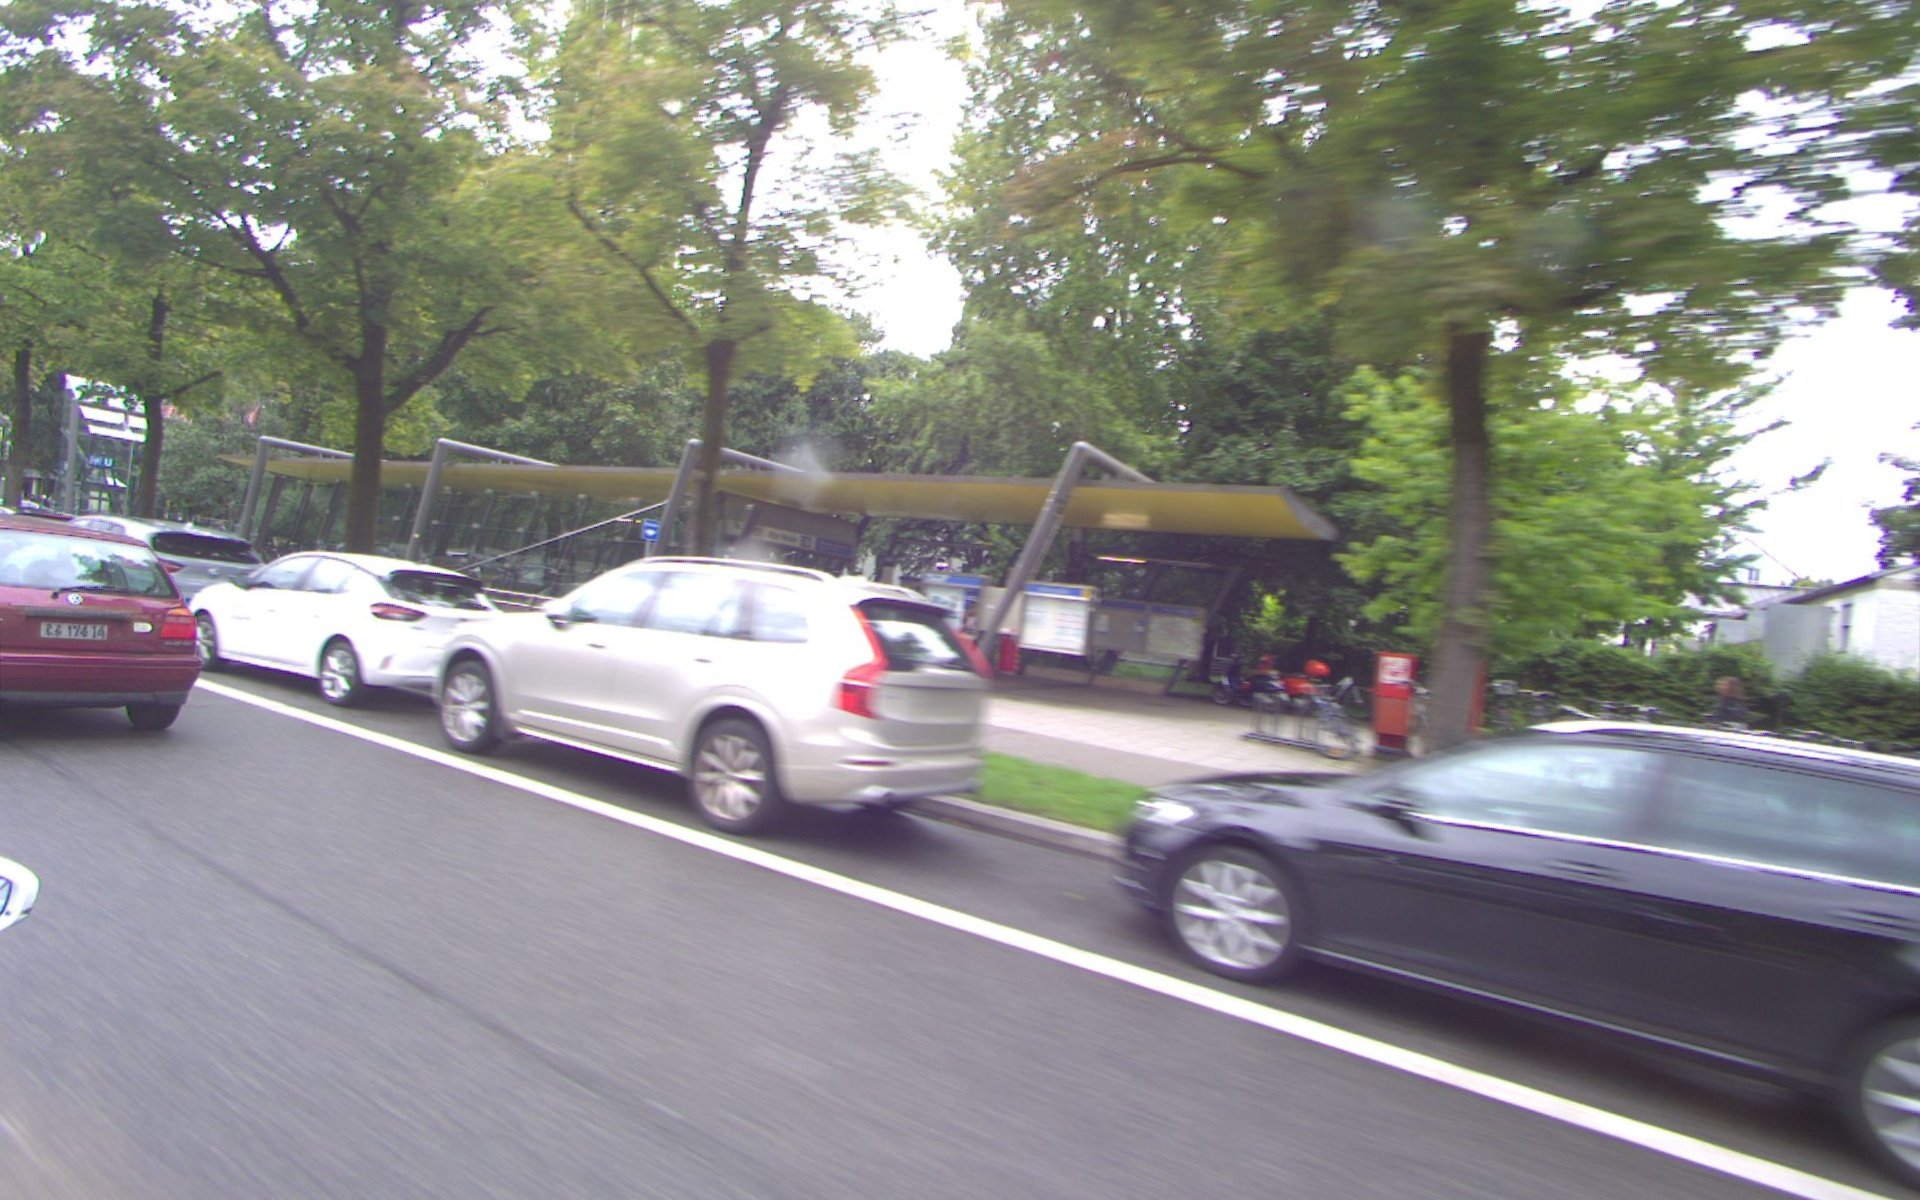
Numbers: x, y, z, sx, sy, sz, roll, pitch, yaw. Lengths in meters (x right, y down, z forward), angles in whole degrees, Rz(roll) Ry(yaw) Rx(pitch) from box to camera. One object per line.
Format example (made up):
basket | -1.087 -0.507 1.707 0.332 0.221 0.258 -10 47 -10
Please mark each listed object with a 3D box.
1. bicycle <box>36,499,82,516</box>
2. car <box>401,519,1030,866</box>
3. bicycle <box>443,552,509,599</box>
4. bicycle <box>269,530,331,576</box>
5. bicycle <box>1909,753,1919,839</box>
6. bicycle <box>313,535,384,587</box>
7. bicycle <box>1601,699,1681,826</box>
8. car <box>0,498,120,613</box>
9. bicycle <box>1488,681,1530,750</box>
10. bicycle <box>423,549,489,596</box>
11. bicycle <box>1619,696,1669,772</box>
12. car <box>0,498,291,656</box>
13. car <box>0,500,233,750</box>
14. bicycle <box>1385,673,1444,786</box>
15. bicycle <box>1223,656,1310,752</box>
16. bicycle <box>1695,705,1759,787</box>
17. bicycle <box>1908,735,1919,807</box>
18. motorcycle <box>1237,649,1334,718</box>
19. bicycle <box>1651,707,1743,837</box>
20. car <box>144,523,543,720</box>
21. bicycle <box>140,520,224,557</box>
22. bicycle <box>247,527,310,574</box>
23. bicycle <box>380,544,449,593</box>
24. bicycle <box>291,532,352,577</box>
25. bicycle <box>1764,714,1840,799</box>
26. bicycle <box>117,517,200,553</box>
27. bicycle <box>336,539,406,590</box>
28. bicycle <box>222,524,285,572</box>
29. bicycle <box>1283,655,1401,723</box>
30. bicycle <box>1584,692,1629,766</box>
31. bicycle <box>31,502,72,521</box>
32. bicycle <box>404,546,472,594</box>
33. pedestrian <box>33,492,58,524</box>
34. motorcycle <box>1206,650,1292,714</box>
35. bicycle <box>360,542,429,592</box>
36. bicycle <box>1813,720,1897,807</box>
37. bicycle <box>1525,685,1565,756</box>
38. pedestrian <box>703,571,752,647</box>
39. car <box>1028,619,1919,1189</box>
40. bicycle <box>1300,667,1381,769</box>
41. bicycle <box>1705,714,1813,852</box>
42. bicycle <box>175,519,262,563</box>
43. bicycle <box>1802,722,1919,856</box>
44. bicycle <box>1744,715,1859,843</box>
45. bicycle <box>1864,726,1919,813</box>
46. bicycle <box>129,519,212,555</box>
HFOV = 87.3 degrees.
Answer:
bicycle | -65.868 -6.740 73.535 2.366 0.881 0.769 7 0 -15
car | -2.076 0.515 7.866 4.825 1.744 1.750 7 -1 32
bicycle | -16.226 -0.835 33.713 2.508 1.296 0.646 6 0 32
bicycle | -22.115 -1.568 33.700 2.508 1.296 0.646 6 0 32
bicycle | 11.492 2.295 11.320 0.575 1.173 2.339 7 2 31
bicycle | -18.262 -1.166 30.013 2.508 1.296 0.646 6 0 32
bicycle | 7.978 1.839 11.849 0.520 1.173 2.339 7 2 31
car | -15.520 -0.839 16.320 4.022 1.551 1.546 6 -3 31
bicycle | 11.015 2.276 20.157 0.520 1.173 2.339 7 2 31
bicycle | -16.609 -0.908 33.125 2.508 1.296 0.646 6 0 32
bicycle | 12.740 2.462 18.783 0.520 1.173 2.339 7 2 31
car | -10.913 -0.336 13.244 4.326 1.552 1.723 6 -1 31
car | -7.111 -0.006 7.184 3.884 1.471 1.624 6 0 31
bicycle | 5.880 1.620 13.103 0.519 1.173 2.343 7 2 23
bicycle | 4.398 1.428 14.311 0.520 1.173 2.339 7 2 31
bicycle | 13.671 2.560 17.976 0.520 1.173 2.339 7 2 31
bicycle | 16.171 2.906 16.340 0.520 1.173 2.339 7 2 31
motorcycle | 6.774 1.723 21.024 0.652 1.192 1.798 6 0 -33
bicycle | 8.494 1.923 11.668 0.520 1.173 2.339 7 2 31
car | -6.754 0.173 10.898 4.428 1.526 1.705 6 0 30
bicycle | -31.277 -2.459 40.483 0.636 1.102 2.546 7 -1 31
bicycle | -22.440 -1.634 33.108 2.508 1.296 0.646 6 0 32
bicycle | -17.212 -1.010 31.718 2.508 1.296 0.646 6 0 32
bicycle | -21.777 -1.555 34.281 2.508 1.296 0.646 6 0 32
bicycle | 14.563 2.663 17.453 0.520 1.173 2.339 7 2 31
bicycle | -33.170 -2.677 41.683 0.636 1.102 2.546 7 -1 31
bicycle | -17.920 -1.101 30.587 2.508 1.296 0.646 6 0 32
bicycle | -22.832 -1.691 32.506 2.508 1.296 0.646 6 0 32
bicycle | 8.521 1.961 22.503 2.308 1.173 0.527 7 3 34
bicycle | 12.280 2.412 19.145 0.520 1.173 2.339 7 2 31
bicycle | -65.454 -6.369 72.506 2.015 0.969 0.744 7 0 -15
bicycle | -16.827 -0.963 32.380 2.508 1.296 0.646 6 0 32
pedestrian | -54.751 -5.513 60.209 0.924 1.744 0.828 7 2 31
motorcycle | 5.928 1.658 20.722 0.649 1.075 1.805 7 0 -20
bicycle | -17.593 -1.038 31.269 2.508 1.296 0.646 6 0 32
bicycle | 15.203 2.739 17.144 0.520 1.173 2.339 7 2 31
bicycle | 11.571 2.341 19.875 0.520 1.173 2.339 7 2 31
pedestrian | -4.970 0.196 21.552 0.681 1.531 0.580 7 0 13
car | 2.817 1.188 4.843 4.567 1.566 1.749 7 -1 34
bicycle | 5.242 1.557 13.779 0.520 1.173 2.339 7 2 31
bicycle | 8.880 1.972 11.262 0.520 1.173 2.339 7 2 31
bicycle | -28.355 -2.238 38.514 0.636 1.296 2.546 7 -1 31
bicycle | 10.521 2.131 11.736 0.575 1.173 2.339 7 2 31
bicycle | 10.011 2.073 12.045 0.575 1.173 2.339 7 2 31
bicycle | 15.717 2.793 16.686 0.520 1.173 2.339 7 2 31
bicycle | -32.170 -2.561 41.032 0.636 1.102 2.546 7 -1 31
